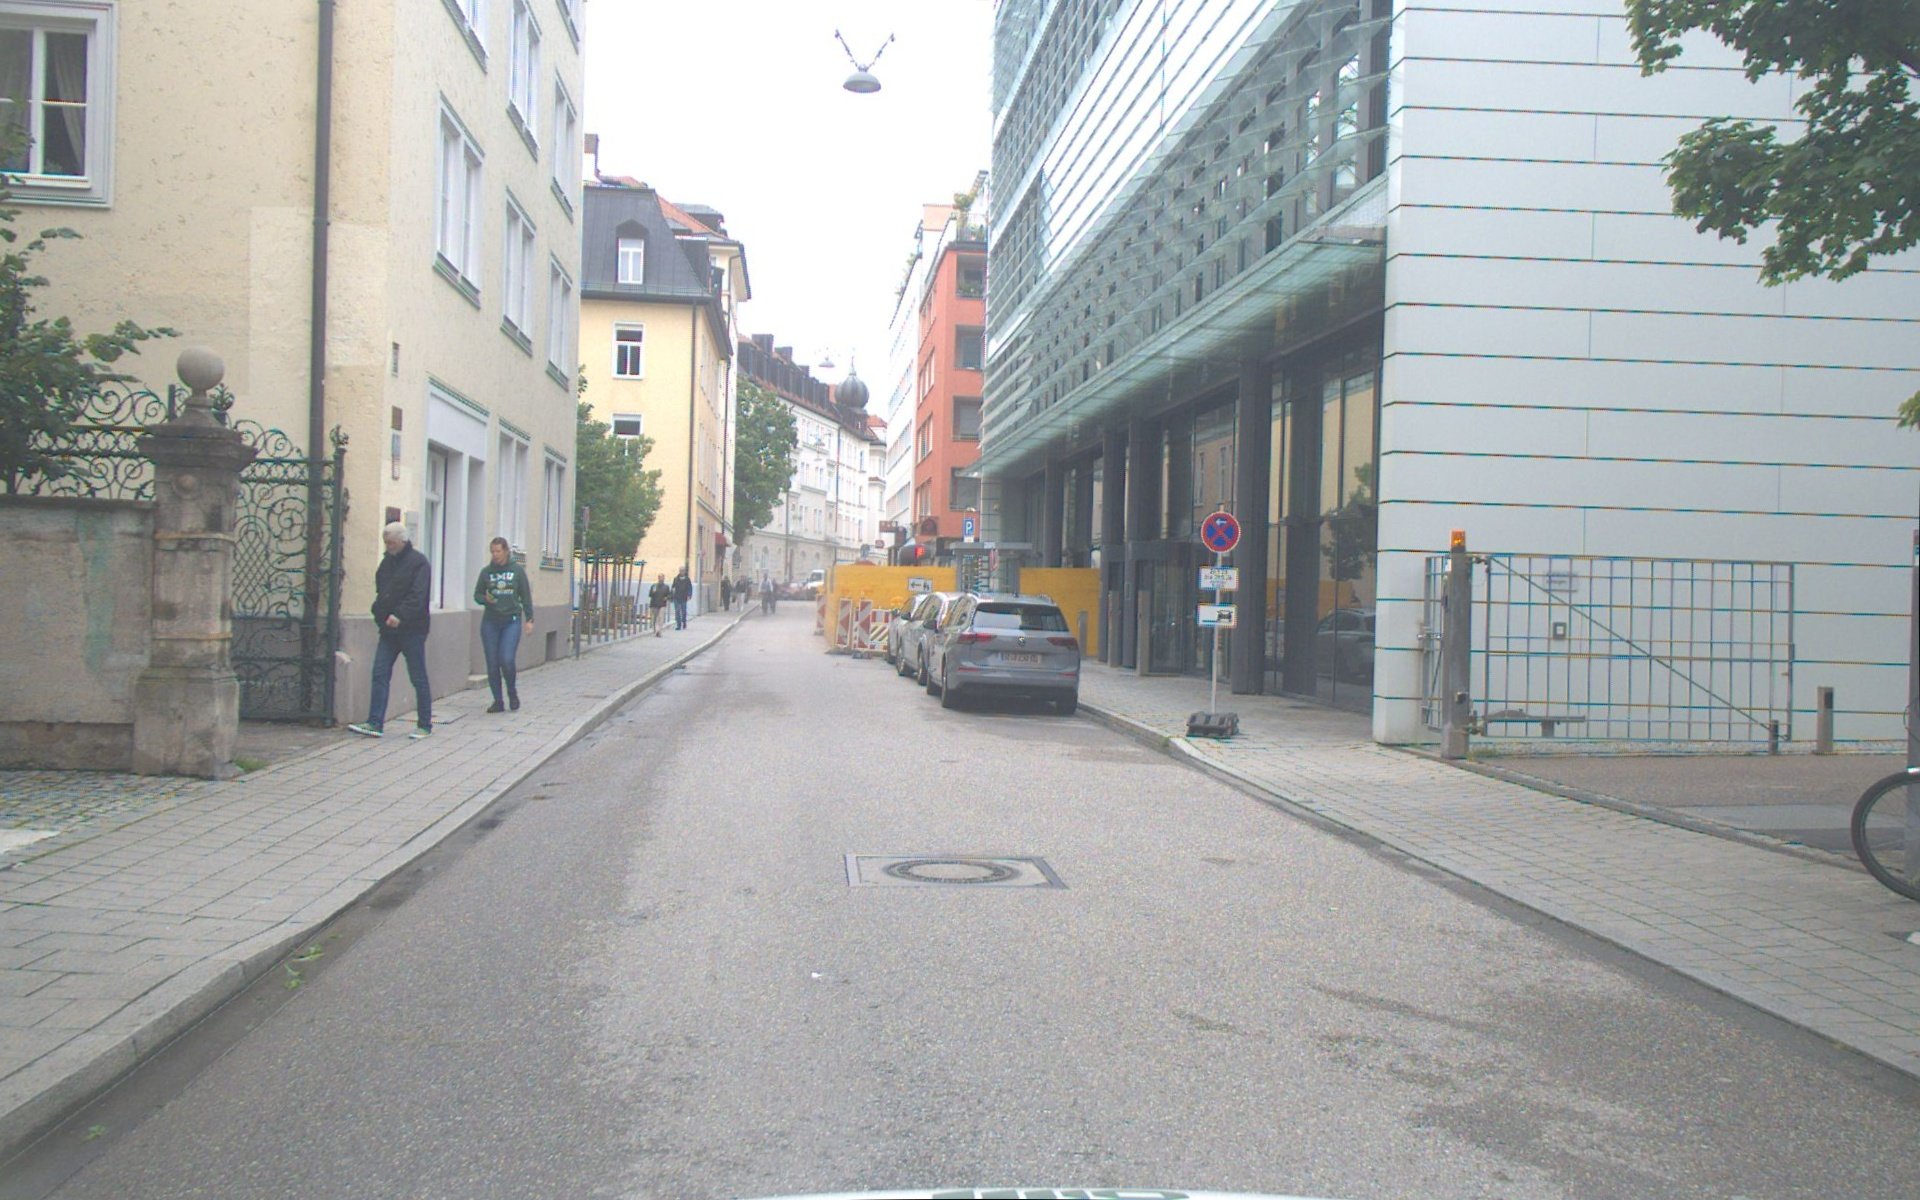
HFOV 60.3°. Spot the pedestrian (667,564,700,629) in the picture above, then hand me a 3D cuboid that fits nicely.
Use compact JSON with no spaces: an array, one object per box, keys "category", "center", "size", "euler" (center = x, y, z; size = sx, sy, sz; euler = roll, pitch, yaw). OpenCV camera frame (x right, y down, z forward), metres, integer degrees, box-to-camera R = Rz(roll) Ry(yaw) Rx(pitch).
[{"category":"pedestrian","center":[-8.342,-0.109,49.923],"size":[0.851,1.914,1.133],"euler":[2,0,-7]}]

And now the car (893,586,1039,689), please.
[{"category":"car","center":[0.007,0.563,27.294],"size":[1.676,1.493,4.228],"euler":[3,0,-9]}]

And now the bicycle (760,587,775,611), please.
[{"category":"bicycle","center":[-8.740,-0.050,75.075],"size":[0.648,1.057,2.002],"euler":[1,0,-6]}]

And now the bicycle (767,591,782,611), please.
[{"category":"bicycle","center":[-8.884,0.043,79.284],"size":[0.694,0.921,1.807],"euler":[1,0,-6]}]

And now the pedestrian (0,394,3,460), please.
[{"category":"pedestrian","center":[-3.154,0.326,4.249],"size":[0.742,1.887,1.075],"euler":[3,0,-6]}]

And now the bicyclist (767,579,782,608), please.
[{"category":"bicyclist","center":[-8.870,-0.305,79.262],"size":[0.694,1.395,0.812],"euler":[1,0,-7]}]

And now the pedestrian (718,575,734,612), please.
[{"category":"pedestrian","center":[-10.926,-0.317,77.178],"size":[0.657,1.677,0.760],"euler":[2,0,-7]}]

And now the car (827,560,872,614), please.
[{"category":"car","center":[-5.658,-0.657,84.227],"size":[1.955,2.581,4.968],"euler":[2,0,-7]}]

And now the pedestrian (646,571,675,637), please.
[{"category":"pedestrian","center":[-7.911,0.098,43.667],"size":[0.635,1.705,0.722],"euler":[2,0,-7]}]

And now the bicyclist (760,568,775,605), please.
[{"category":"bicyclist","center":[-8.720,-0.623,75.090],"size":[0.647,1.671,0.894],"euler":[1,0,-7]}]

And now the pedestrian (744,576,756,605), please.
[{"category":"pedestrian","center":[-12.679,-0.590,99.863],"size":[0.622,1.704,0.517],"euler":[2,0,-7]}]

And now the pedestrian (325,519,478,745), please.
[{"category":"pedestrian","center":[-4.804,0.263,14.282],"size":[0.886,1.859,0.956],"euler":[2,0,5]}]

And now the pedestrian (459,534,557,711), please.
[{"category":"pedestrian","center":[-4.558,0.218,16.741],"size":[0.699,1.694,0.928],"euler":[4,0,-6]}]

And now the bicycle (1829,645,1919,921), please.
[{"category":"bicycle","center":[4.816,0.893,7.429],"size":[0.694,1.219,1.832],"euler":[1,3,-5]}]

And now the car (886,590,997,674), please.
[{"category":"car","center":[-0.431,0.582,32.430],"size":[1.675,1.438,4.503],"euler":[3,0,-6]}]

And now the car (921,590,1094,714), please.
[{"category":"car","center":[0.532,0.617,22.032],"size":[1.675,1.457,4.323],"euler":[2,0,-7]}]

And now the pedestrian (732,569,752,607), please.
[{"category":"pedestrian","center":[-10.153,-0.551,77.008],"size":[0.823,1.730,0.802],"euler":[2,0,-7]}]
